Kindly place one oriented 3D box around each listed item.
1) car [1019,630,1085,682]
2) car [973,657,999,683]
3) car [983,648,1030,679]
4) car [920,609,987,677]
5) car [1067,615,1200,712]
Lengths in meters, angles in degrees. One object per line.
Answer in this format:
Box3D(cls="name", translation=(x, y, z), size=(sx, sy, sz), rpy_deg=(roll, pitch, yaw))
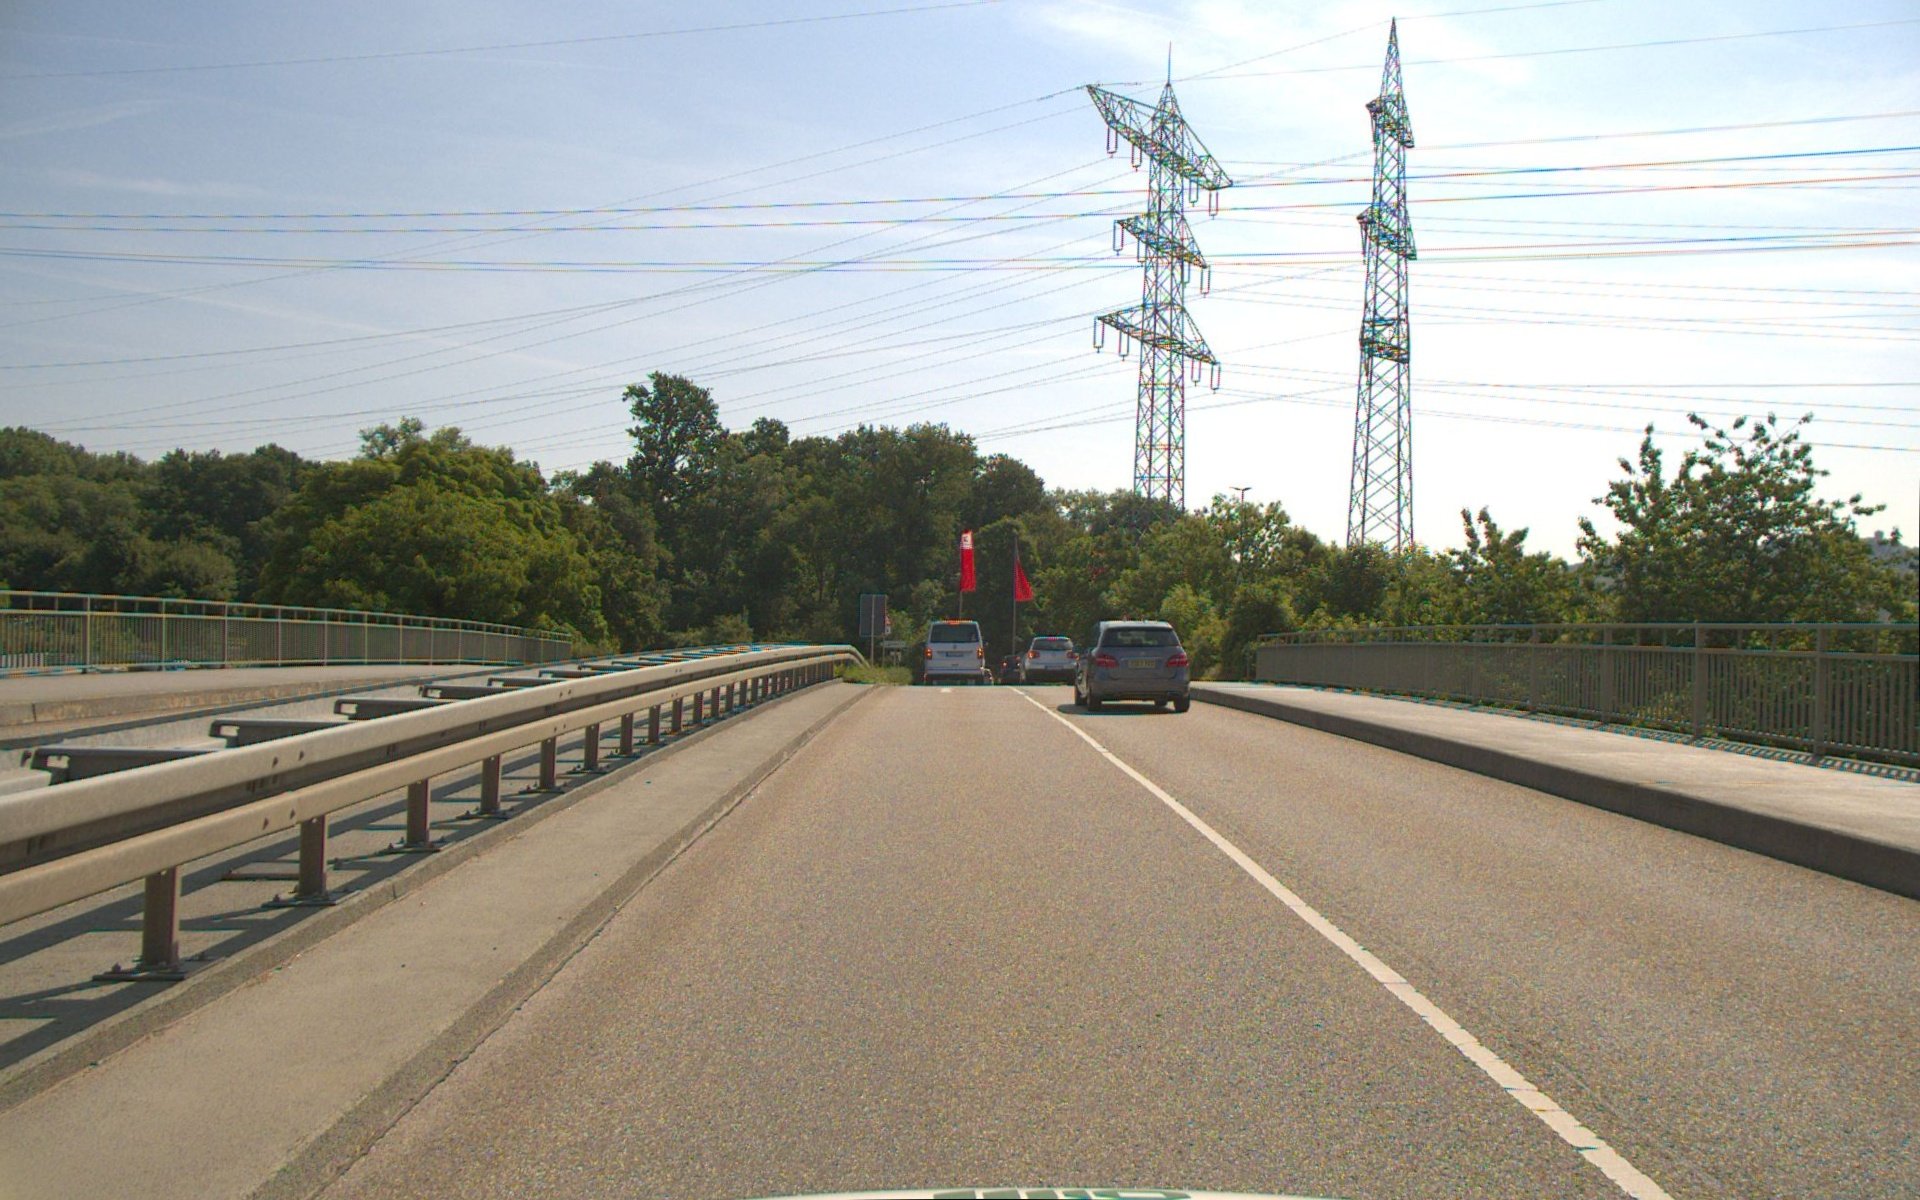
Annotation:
Box3D(cls="car", translation=(2.821, 1.781, 51.470), size=(1.818, 1.556, 4.143), rpy_deg=(0, -3, 0))
Box3D(cls="car", translation=(1.609, 4.442, 104.782), size=(1.518, 1.581, 3.553), rpy_deg=(1, -2, -1))
Box3D(cls="car", translation=(2.238, 3.040, 79.050), size=(1.736, 1.355, 3.743), rpy_deg=(2, -2, 9))
Box3D(cls="car", translation=(-0.160, 1.374, 52.146), size=(1.997, 2.049, 4.000), rpy_deg=(0, -2, 1))
Box3D(cls="car", translation=(3.017, 1.078, 29.541), size=(1.819, 1.556, 4.142), rpy_deg=(0, 0, -2))
